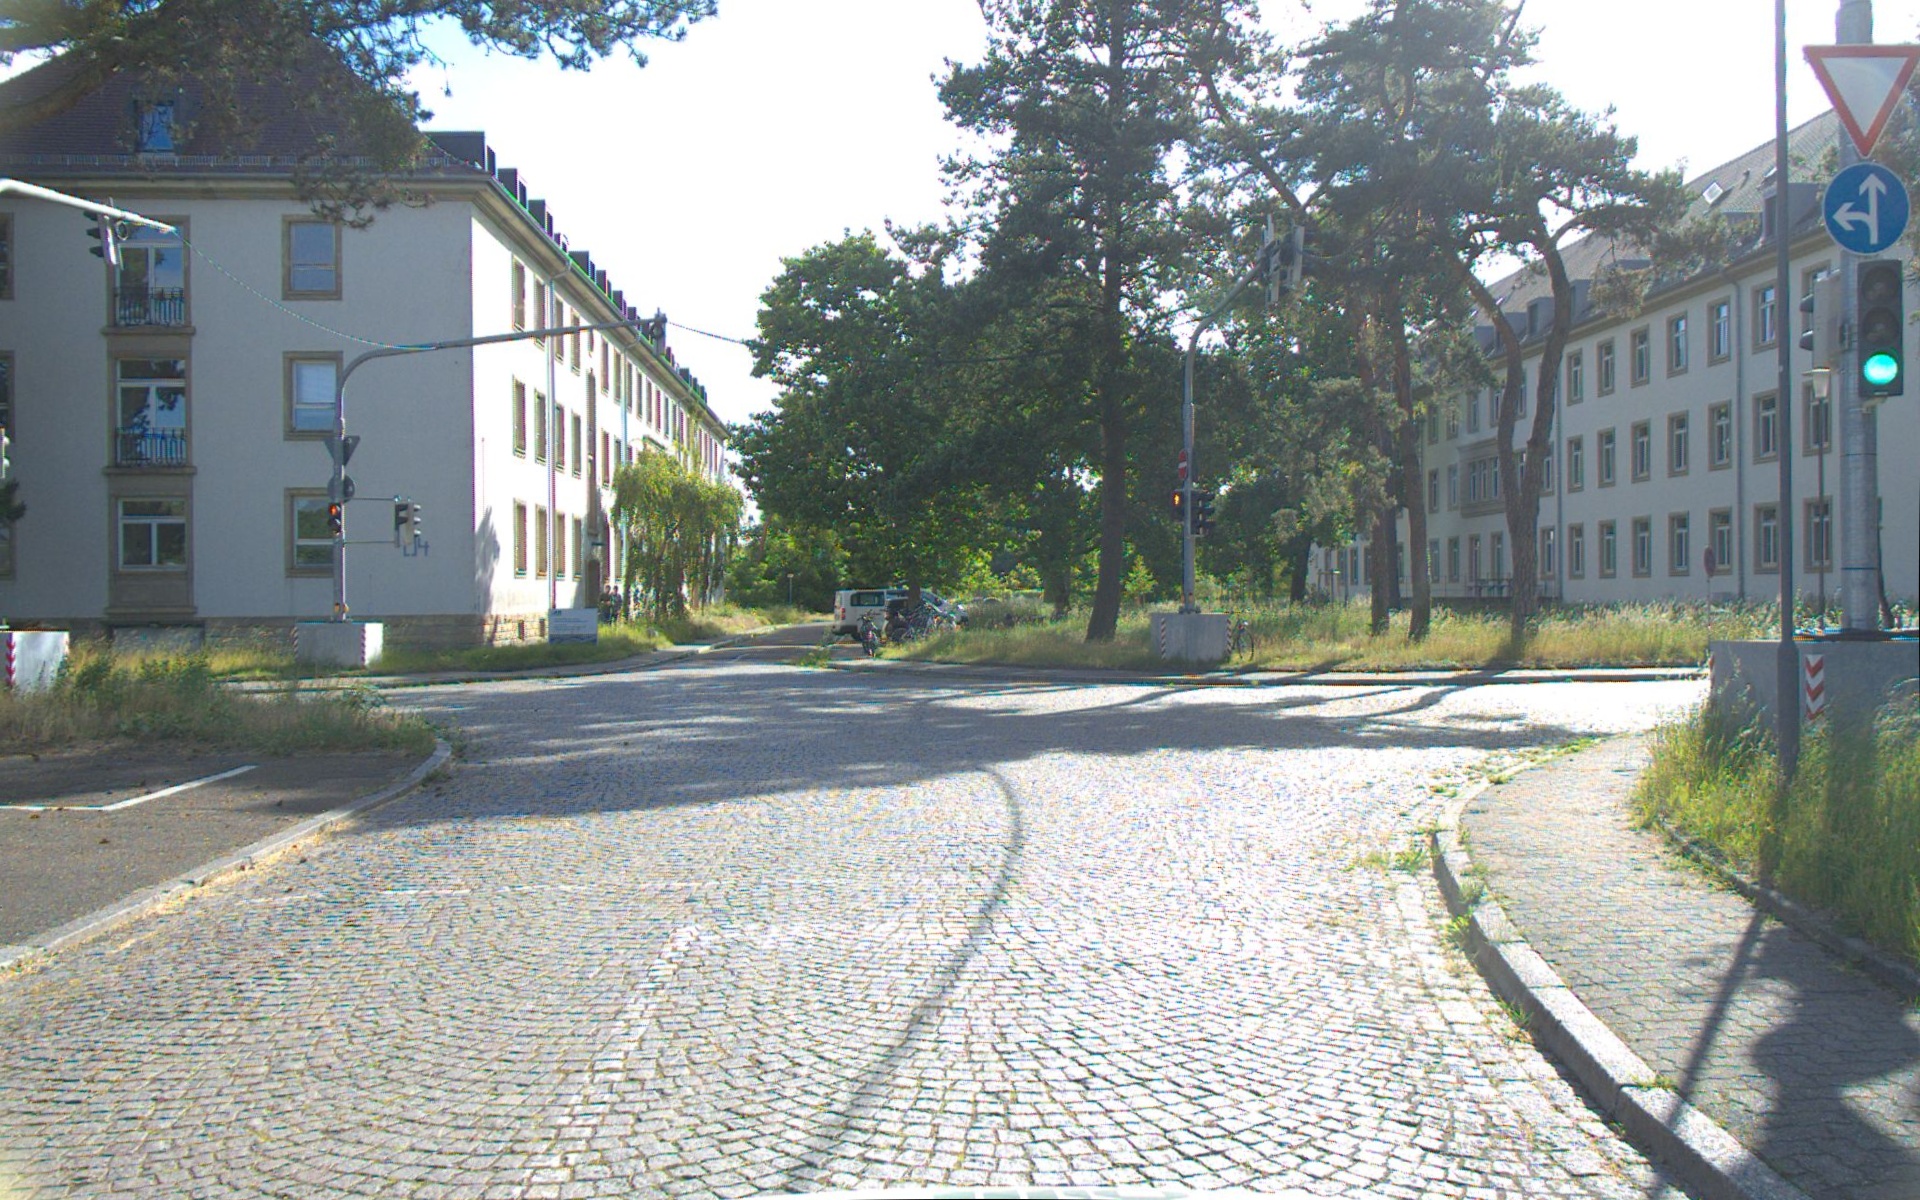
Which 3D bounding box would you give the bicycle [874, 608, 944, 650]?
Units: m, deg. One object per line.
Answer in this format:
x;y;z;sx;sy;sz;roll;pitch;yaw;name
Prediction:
-1.437;0.825;47.073;1.920;1.149;0.641;0;0;-30;bicycle

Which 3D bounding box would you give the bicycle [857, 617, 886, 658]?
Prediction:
-2.237;0.936;41.536;0.682;0.988;1.859;0;0;-5;bicycle

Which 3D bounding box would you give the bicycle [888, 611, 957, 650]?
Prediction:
-1.032;0.824;45.078;1.818;1.049;0.749;0;0;-6;bicycle

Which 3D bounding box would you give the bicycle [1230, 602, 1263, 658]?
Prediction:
5.753;0.601;33.276;0.456;1.099;1.174;-1;-1;1;bicycle

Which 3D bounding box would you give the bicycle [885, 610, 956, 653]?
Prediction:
-1.097;0.869;45.871;1.903;1.149;0.749;0;0;-6;bicycle

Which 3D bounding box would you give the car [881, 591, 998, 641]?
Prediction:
-0.759;0.564;58.873;3.915;1.713;1.842;0;0;-11;car

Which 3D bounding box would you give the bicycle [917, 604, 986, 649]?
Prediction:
-0.230;0.748;46.618;1.903;1.257;0.485;0;0;-6;bicycle

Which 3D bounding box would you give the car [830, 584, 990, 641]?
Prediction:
-1.956;0.454;62.991;5.822;2.049;2.470;0;0;-10;car

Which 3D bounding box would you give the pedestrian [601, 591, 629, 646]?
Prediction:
-11.744;0.638;56.283;0.751;1.849;0.683;-1;0;8;pedestrian

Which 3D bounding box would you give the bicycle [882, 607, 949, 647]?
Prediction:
-1.299;0.779;48.171;1.904;1.149;0.646;0;0;-8;bicycle

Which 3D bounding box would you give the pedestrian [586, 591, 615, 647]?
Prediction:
-11.960;0.630;54.993;0.794;1.849;0.555;-1;0;8;pedestrian

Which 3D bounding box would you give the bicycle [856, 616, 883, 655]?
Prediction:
-2.384;0.926;43.468;0.682;0.988;1.859;0;0;-5;bicycle
